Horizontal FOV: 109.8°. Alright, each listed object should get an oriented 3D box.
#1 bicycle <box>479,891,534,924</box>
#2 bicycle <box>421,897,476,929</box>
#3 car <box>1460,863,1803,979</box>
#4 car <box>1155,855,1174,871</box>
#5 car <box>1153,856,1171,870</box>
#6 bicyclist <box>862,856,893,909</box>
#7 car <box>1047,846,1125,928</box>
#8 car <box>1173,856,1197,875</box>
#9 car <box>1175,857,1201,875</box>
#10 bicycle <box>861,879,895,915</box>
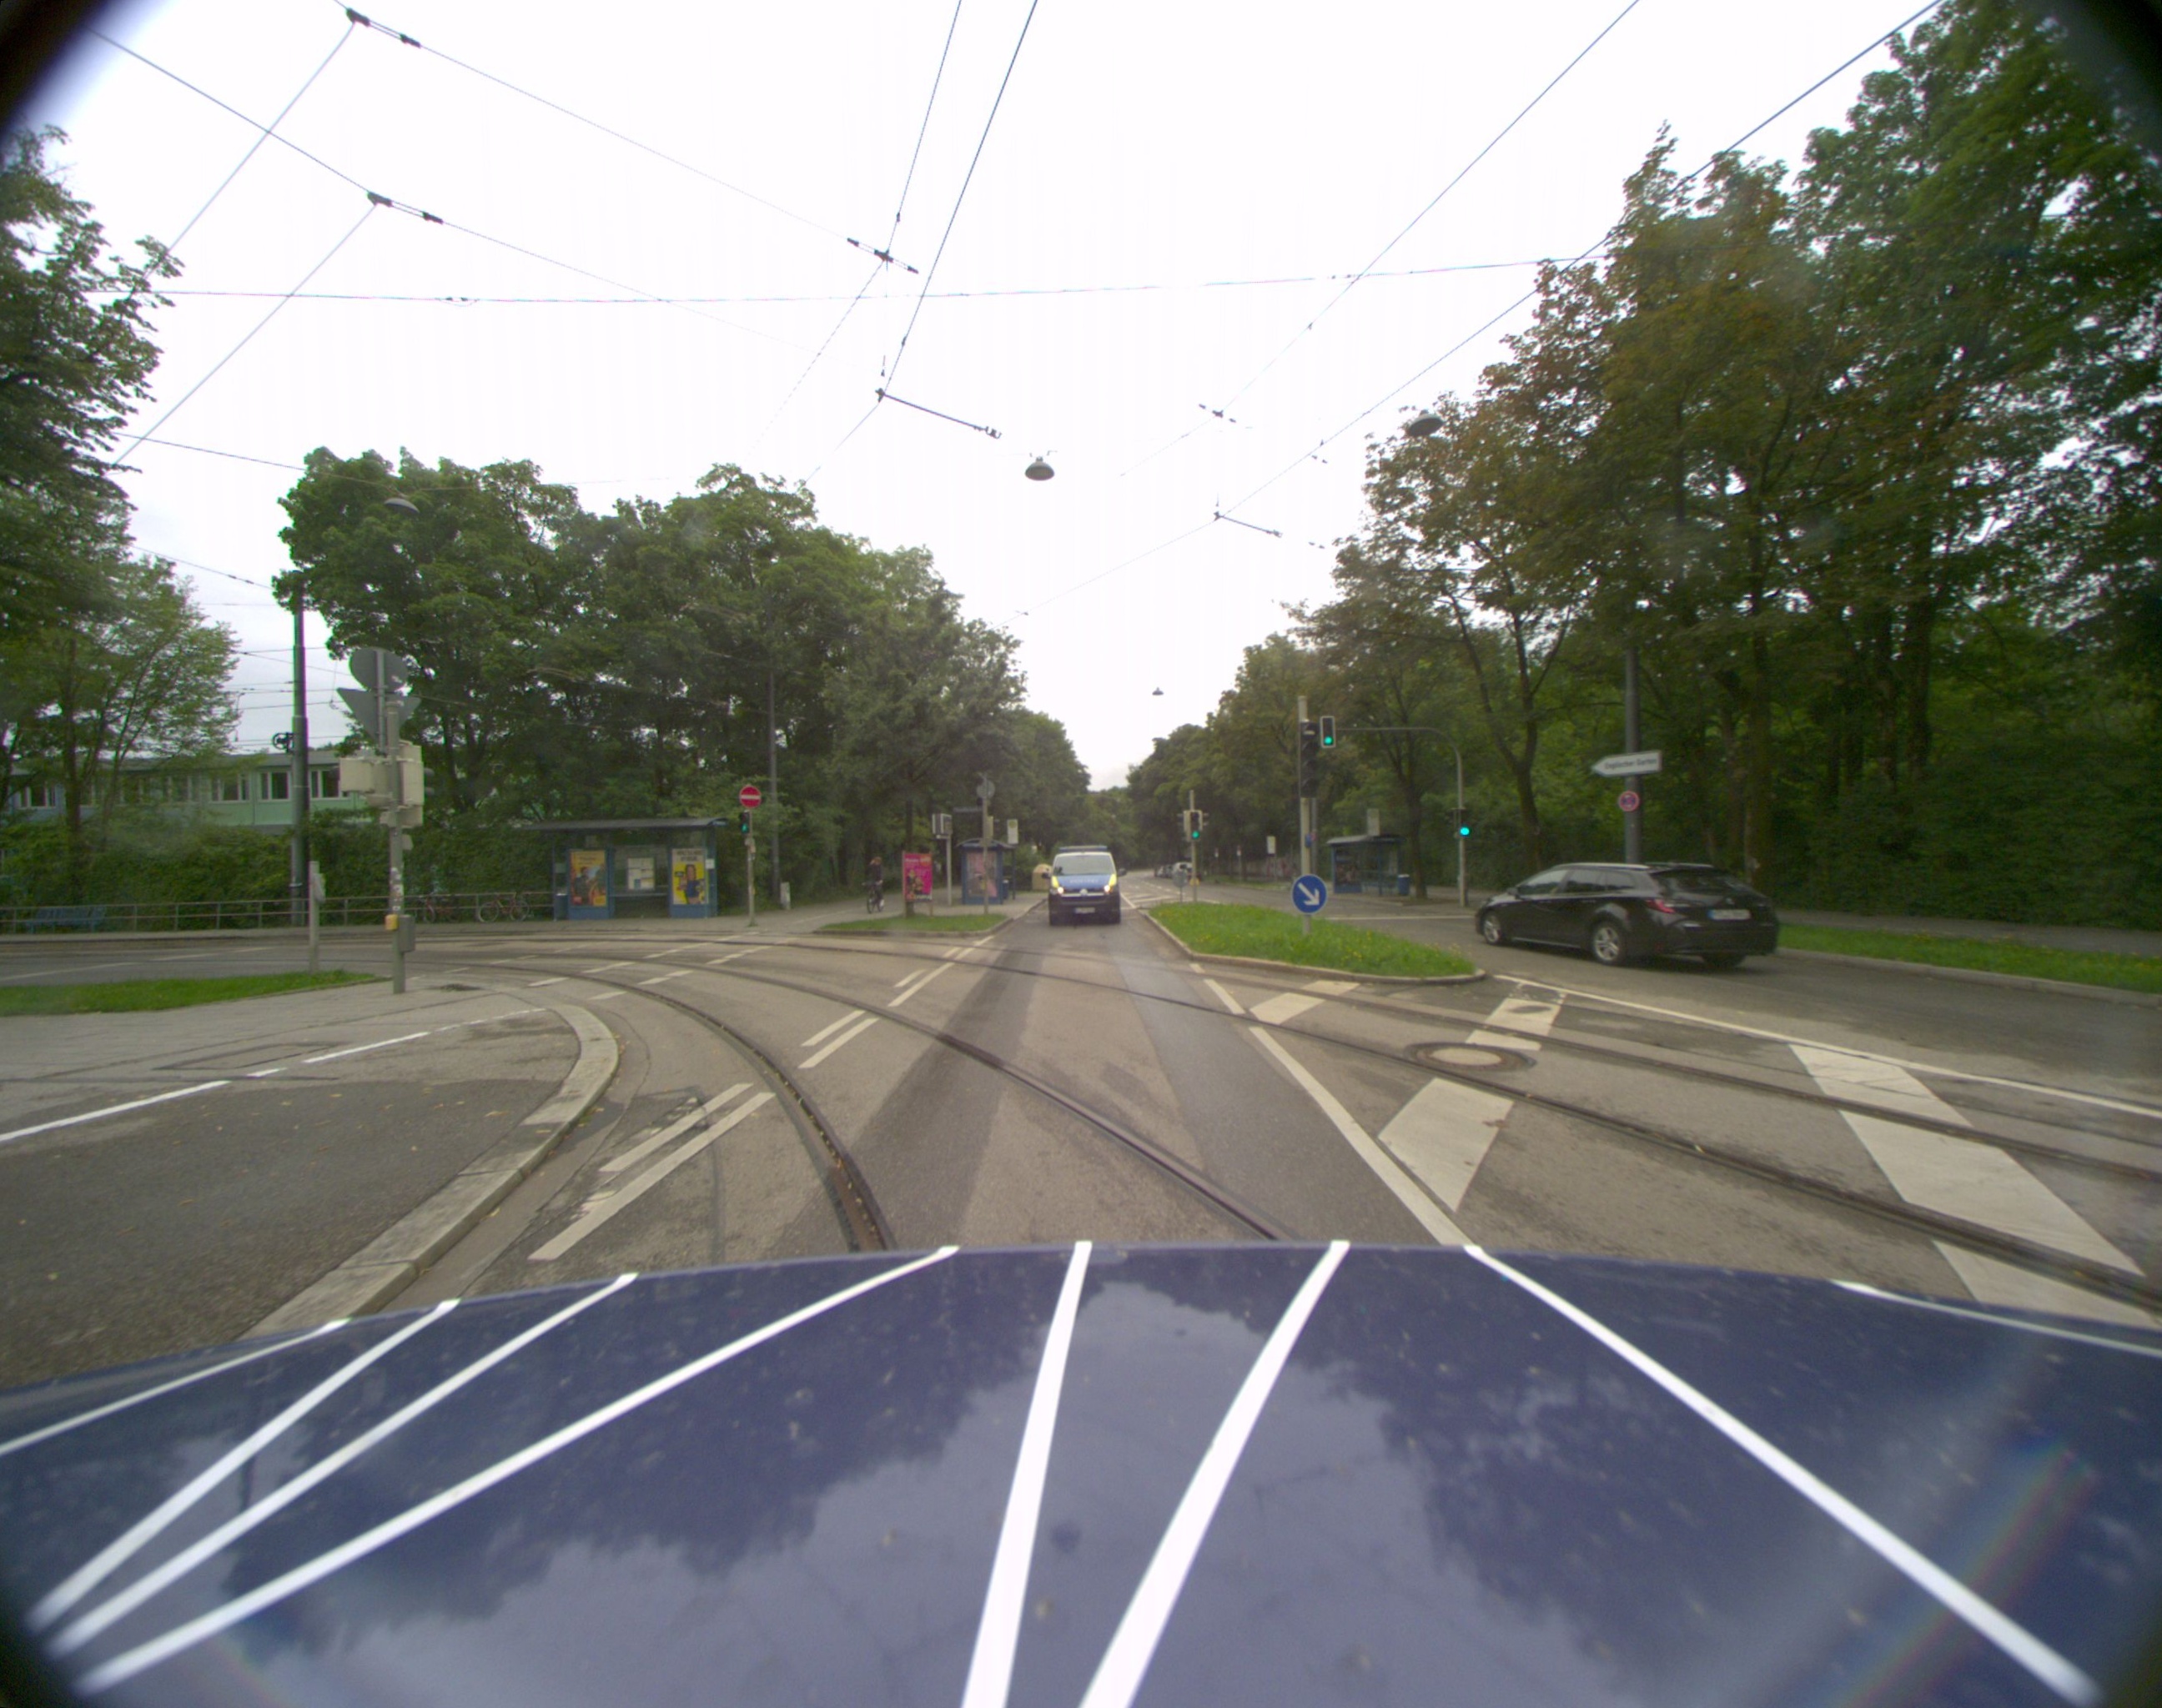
[{"bbox_3d":[-18.138,1.686,23.987,1.483,0.946,0.373,-2,1,4],"label":"bicycle"},{"bbox_3d":[-20.106,1.862,24.160,1.483,0.946,0.373,-2,1,4],"label":"bicycle"},{"bbox_3d":[7.900,0.841,11.646,1.628,1.380,4.839,1,0,-2],"label":"car"},{"bbox_3d":[10.298,1.108,93.700,1.888,1.716,3.999,-3,1,0],"label":"car"},{"bbox_3d":[10.520,1.173,98.843,1.888,1.716,3.999,-3,1,0],"label":"car"},{"bbox_3d":[-6.820,0.947,25.480,0.726,1.719,0.726,-3,1,0],"label":"bicyclist"},{"bbox_3d":[0.126,0.806,21.905,1.903,2.041,5.708,-1,1,0],"label":"car"},{"bbox_3d":[10.757,1.157,79.024,1.888,1.716,3.999,-3,1,0],"label":"car"},{"bbox_3d":[10.308,1.102,73.266,1.888,1.532,3.999,-3,1,0],"label":"car"},{"bbox_3d":[-6.781,1.414,25.496,0.580,1.072,1.912,-3,1,0],"label":"bicycle"}]
